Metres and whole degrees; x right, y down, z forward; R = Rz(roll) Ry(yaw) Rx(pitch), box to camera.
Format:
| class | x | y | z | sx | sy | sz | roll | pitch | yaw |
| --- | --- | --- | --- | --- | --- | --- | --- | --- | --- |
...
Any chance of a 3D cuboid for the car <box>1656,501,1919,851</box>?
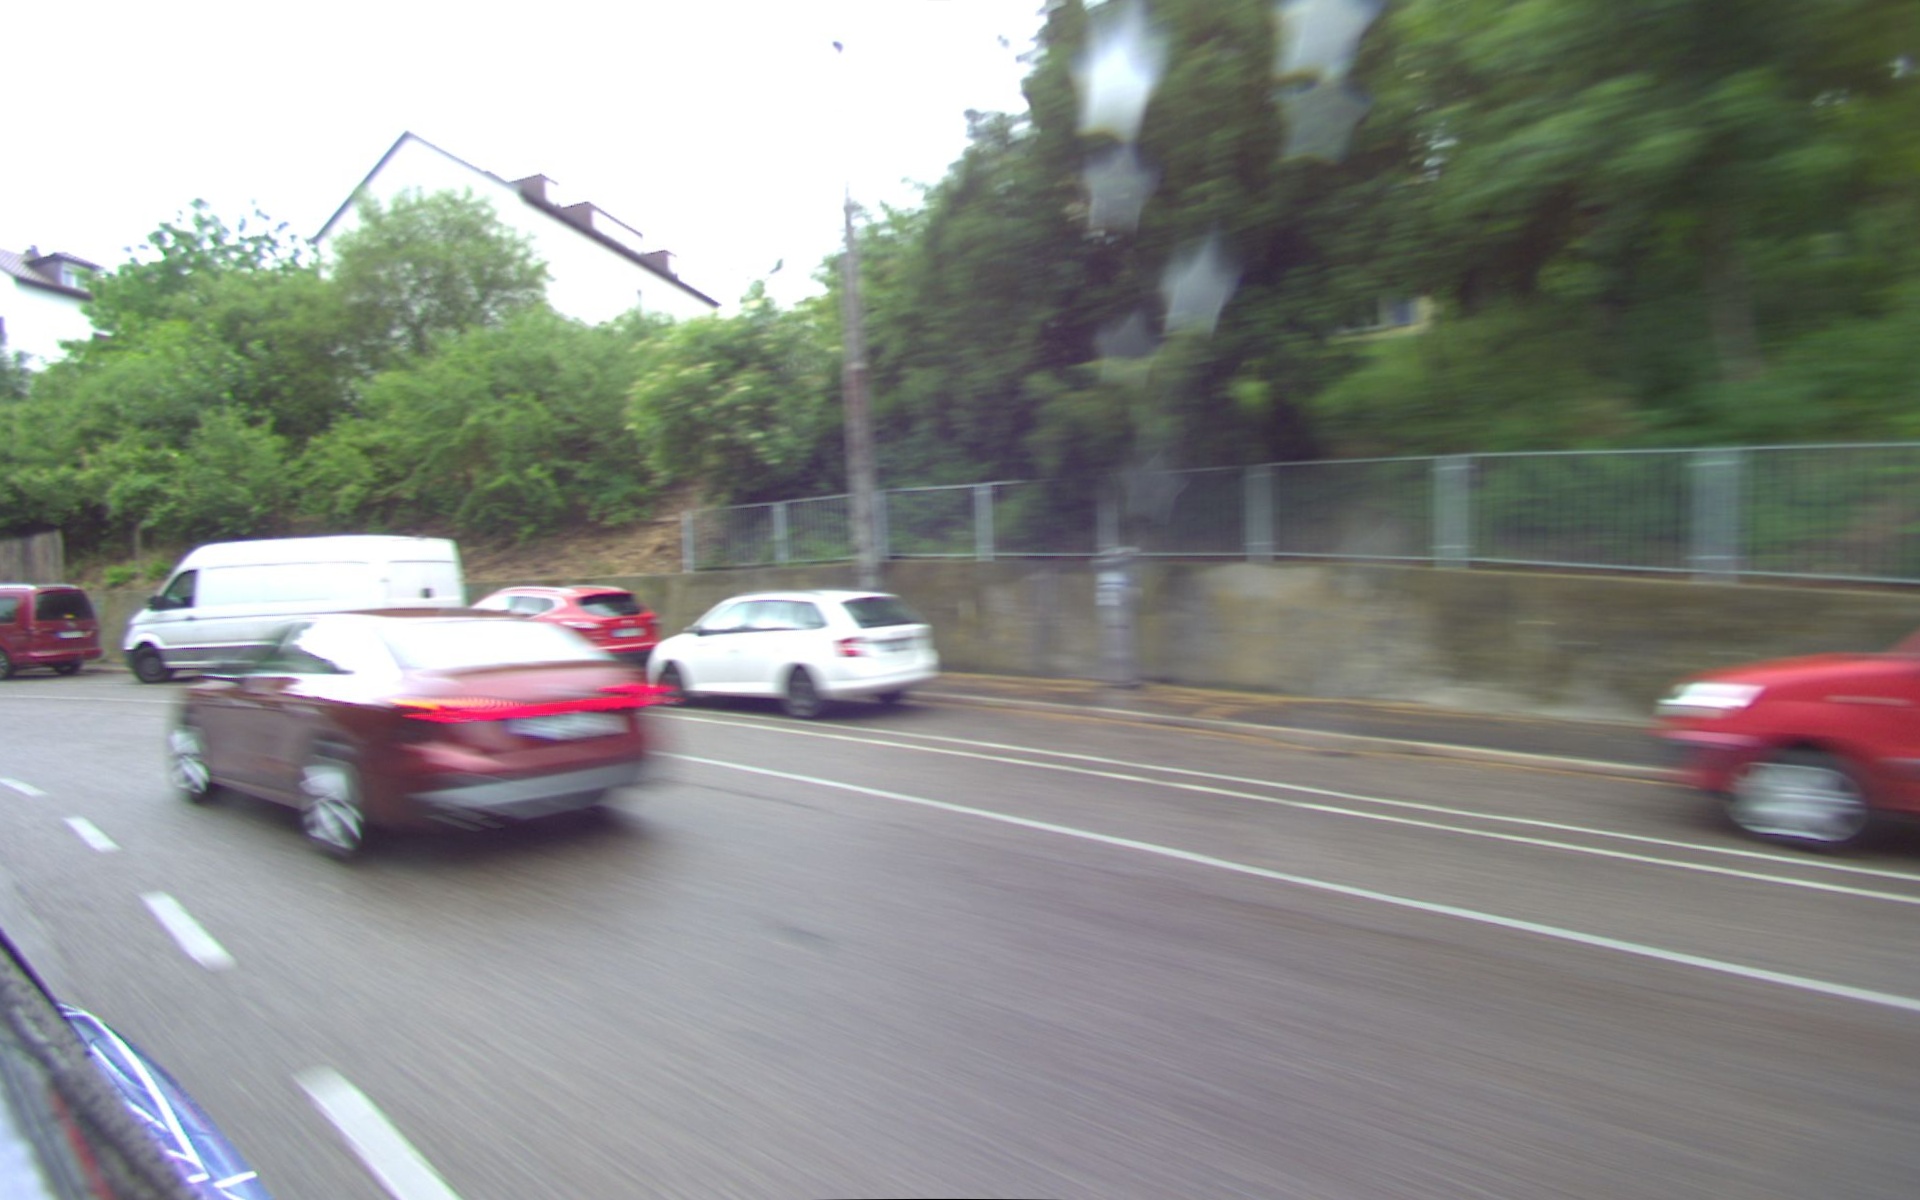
| class | x | y | z | sx | sy | sz | roll | pitch | yaw |
| --- | --- | --- | --- | --- | --- | --- | --- | --- | --- |
| car | 6.160 | 0.397 | 5.123 | 4.138 | 1.781 | 1.731 | 0 | 0 | 44 |

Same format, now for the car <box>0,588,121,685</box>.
| class | x | y | z | sx | sy | sz | roll | pitch | yaw |
| --- | --- | --- | --- | --- | --- | --- | --- | --- | --- |
| car | -20.586 | 0.745 | 21.012 | 4.757 | 1.890 | 1.999 | -1 | 0 | 2 |

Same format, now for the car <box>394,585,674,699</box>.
| class | x | y | z | sx | sy | sz | roll | pitch | yaw |
| --- | --- | --- | --- | --- | --- | --- | --- | --- | --- |
| car | -6.807 | 0.610 | 16.064 | 4.414 | 1.597 | 1.763 | -1 | 0 | 30 |

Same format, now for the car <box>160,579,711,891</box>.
| class | x | y | z | sx | sy | sz | roll | pitch | yaw |
| --- | --- | --- | --- | --- | --- | --- | --- | --- | --- |
| car | -3.881 | 0.692 | 7.108 | 4.480 | 1.528 | 1.849 | -1 | 0 | 40 |

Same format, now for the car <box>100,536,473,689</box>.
| class | x | y | z | sx | sy | sz | roll | pitch | yaw |
| --- | --- | --- | --- | --- | --- | --- | --- | --- | --- |
| car | -12.585 | 0.253 | 18.892 | 6.766 | 2.550 | 2.029 | -1 | 0 | 18 |

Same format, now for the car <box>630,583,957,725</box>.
| class | x | y | z | sx | sy | sz | roll | pitch | yaw |
| --- | --- | --- | --- | --- | --- | --- | --- | --- | --- |
| car | -2.230 | 0.616 | 12.931 | 4.193 | 1.490 | 1.721 | -1 | 1 | 38 |
